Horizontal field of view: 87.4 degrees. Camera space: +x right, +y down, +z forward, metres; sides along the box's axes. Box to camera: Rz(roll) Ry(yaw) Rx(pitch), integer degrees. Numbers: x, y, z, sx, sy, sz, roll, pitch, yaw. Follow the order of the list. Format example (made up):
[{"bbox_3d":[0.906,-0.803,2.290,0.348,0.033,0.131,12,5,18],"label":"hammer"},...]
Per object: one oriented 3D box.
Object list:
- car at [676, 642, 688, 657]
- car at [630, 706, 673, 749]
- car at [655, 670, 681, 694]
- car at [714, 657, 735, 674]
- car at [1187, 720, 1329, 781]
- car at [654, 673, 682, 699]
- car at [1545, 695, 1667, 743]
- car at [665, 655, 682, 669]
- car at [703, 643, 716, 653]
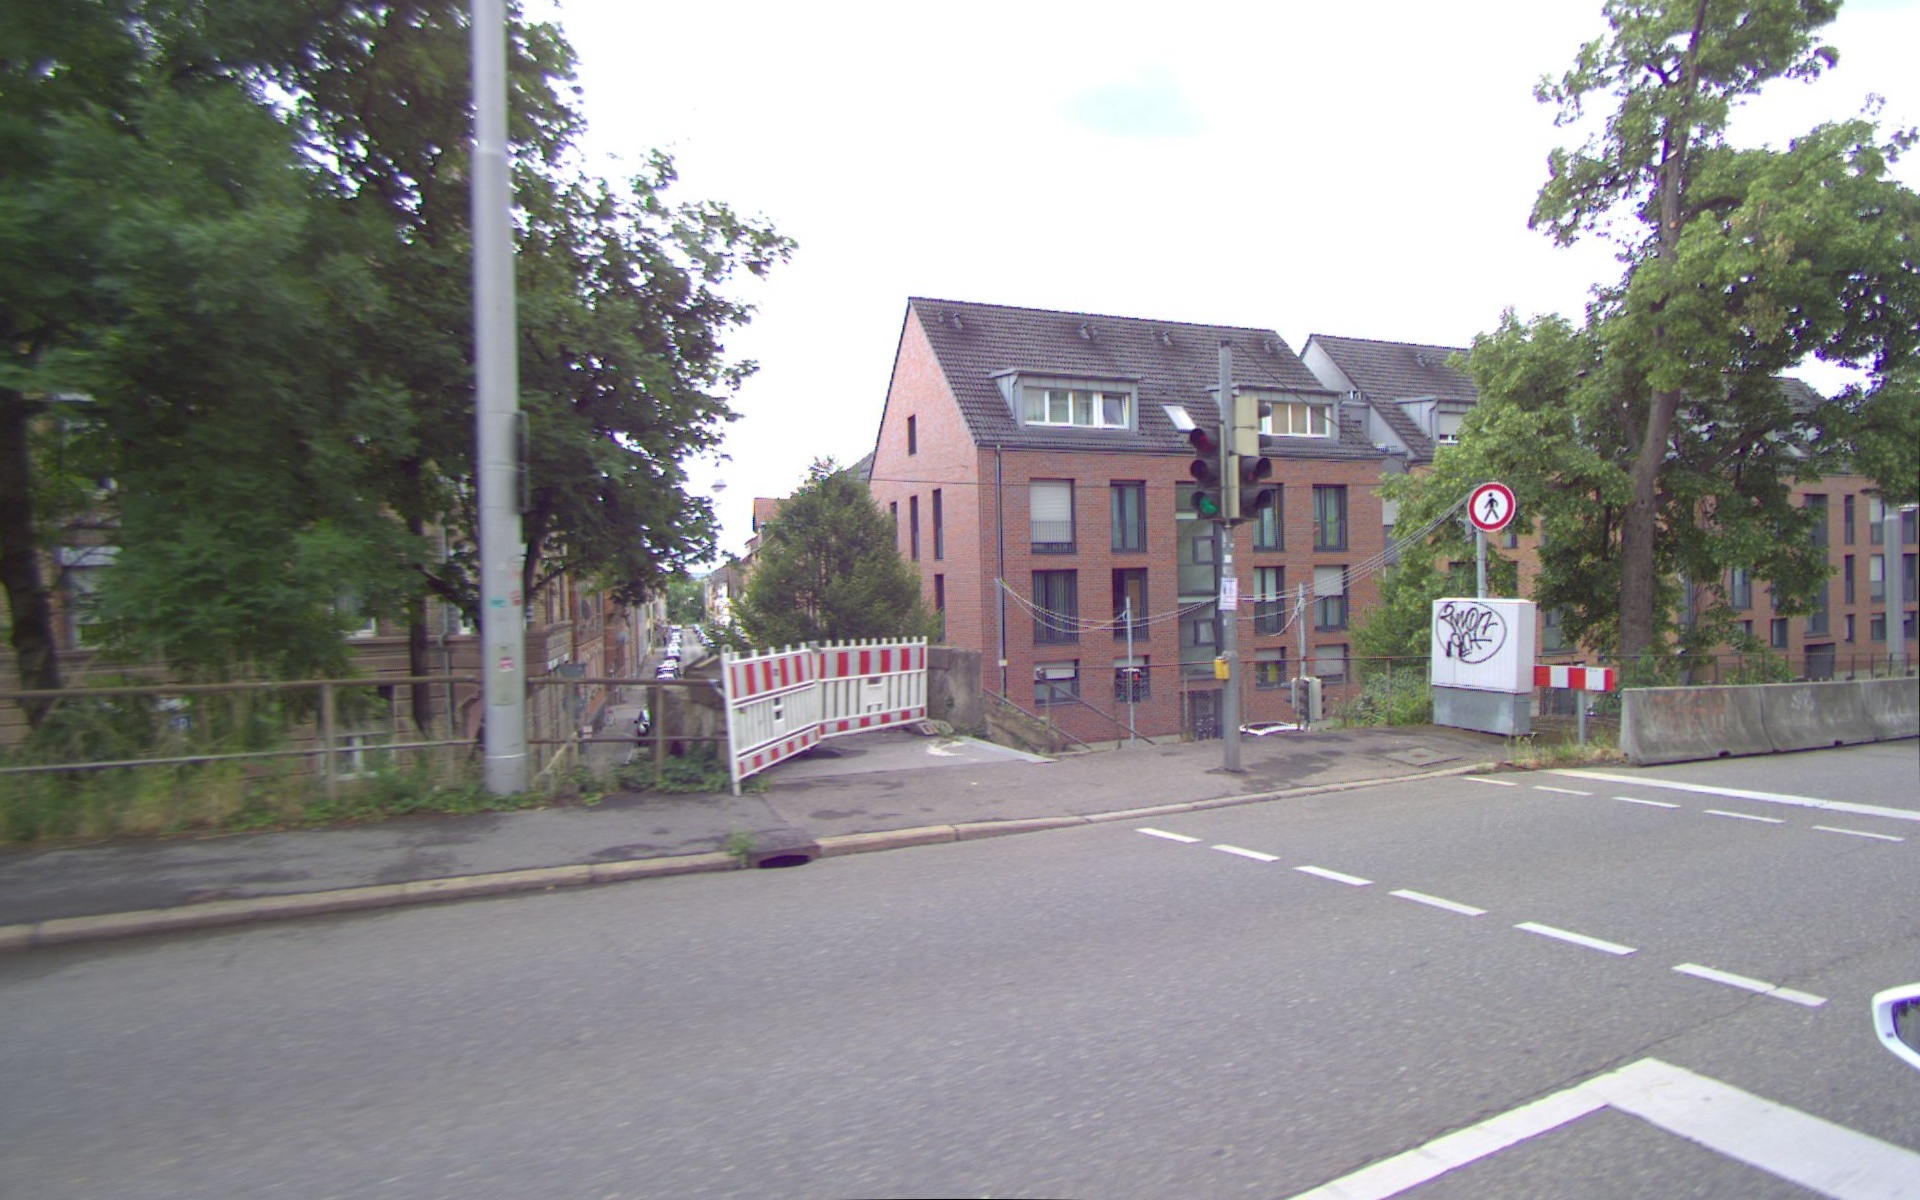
[{"bbox_3d":[-45.663,8.161,164.961,1.771,2.266,4.405,-2,-1,-17],"label":"car"},{"bbox_3d":[-13.979,5.722,45.493,1.771,1.530,3.986,-1,-2,-17],"label":"car"},{"bbox_3d":[-22.303,6.224,76.677,1.771,1.530,3.986,-2,-1,-17],"label":"car"},{"bbox_3d":[-25.033,6.916,106.532,1.772,1.530,3.984,-2,-1,-19],"label":"car"},{"bbox_3d":[9.146,4.564,30.828,3.942,1.530,1.791,1,-3,-22],"label":"car"},{"bbox_3d":[-20.872,6.092,71.775,1.771,1.530,3.986,-2,-1,-17],"label":"car"},{"bbox_3d":[23.709,4.318,36.875,3.941,1.530,1.791,1,-3,-22],"label":"car"},{"bbox_3d":[-34.511,7.444,120.835,1.771,1.530,3.986,-2,-1,-17],"label":"car"},{"bbox_3d":[-41.675,7.958,166.950,1.772,1.530,3.984,-2,-1,-19],"label":"car"}]
